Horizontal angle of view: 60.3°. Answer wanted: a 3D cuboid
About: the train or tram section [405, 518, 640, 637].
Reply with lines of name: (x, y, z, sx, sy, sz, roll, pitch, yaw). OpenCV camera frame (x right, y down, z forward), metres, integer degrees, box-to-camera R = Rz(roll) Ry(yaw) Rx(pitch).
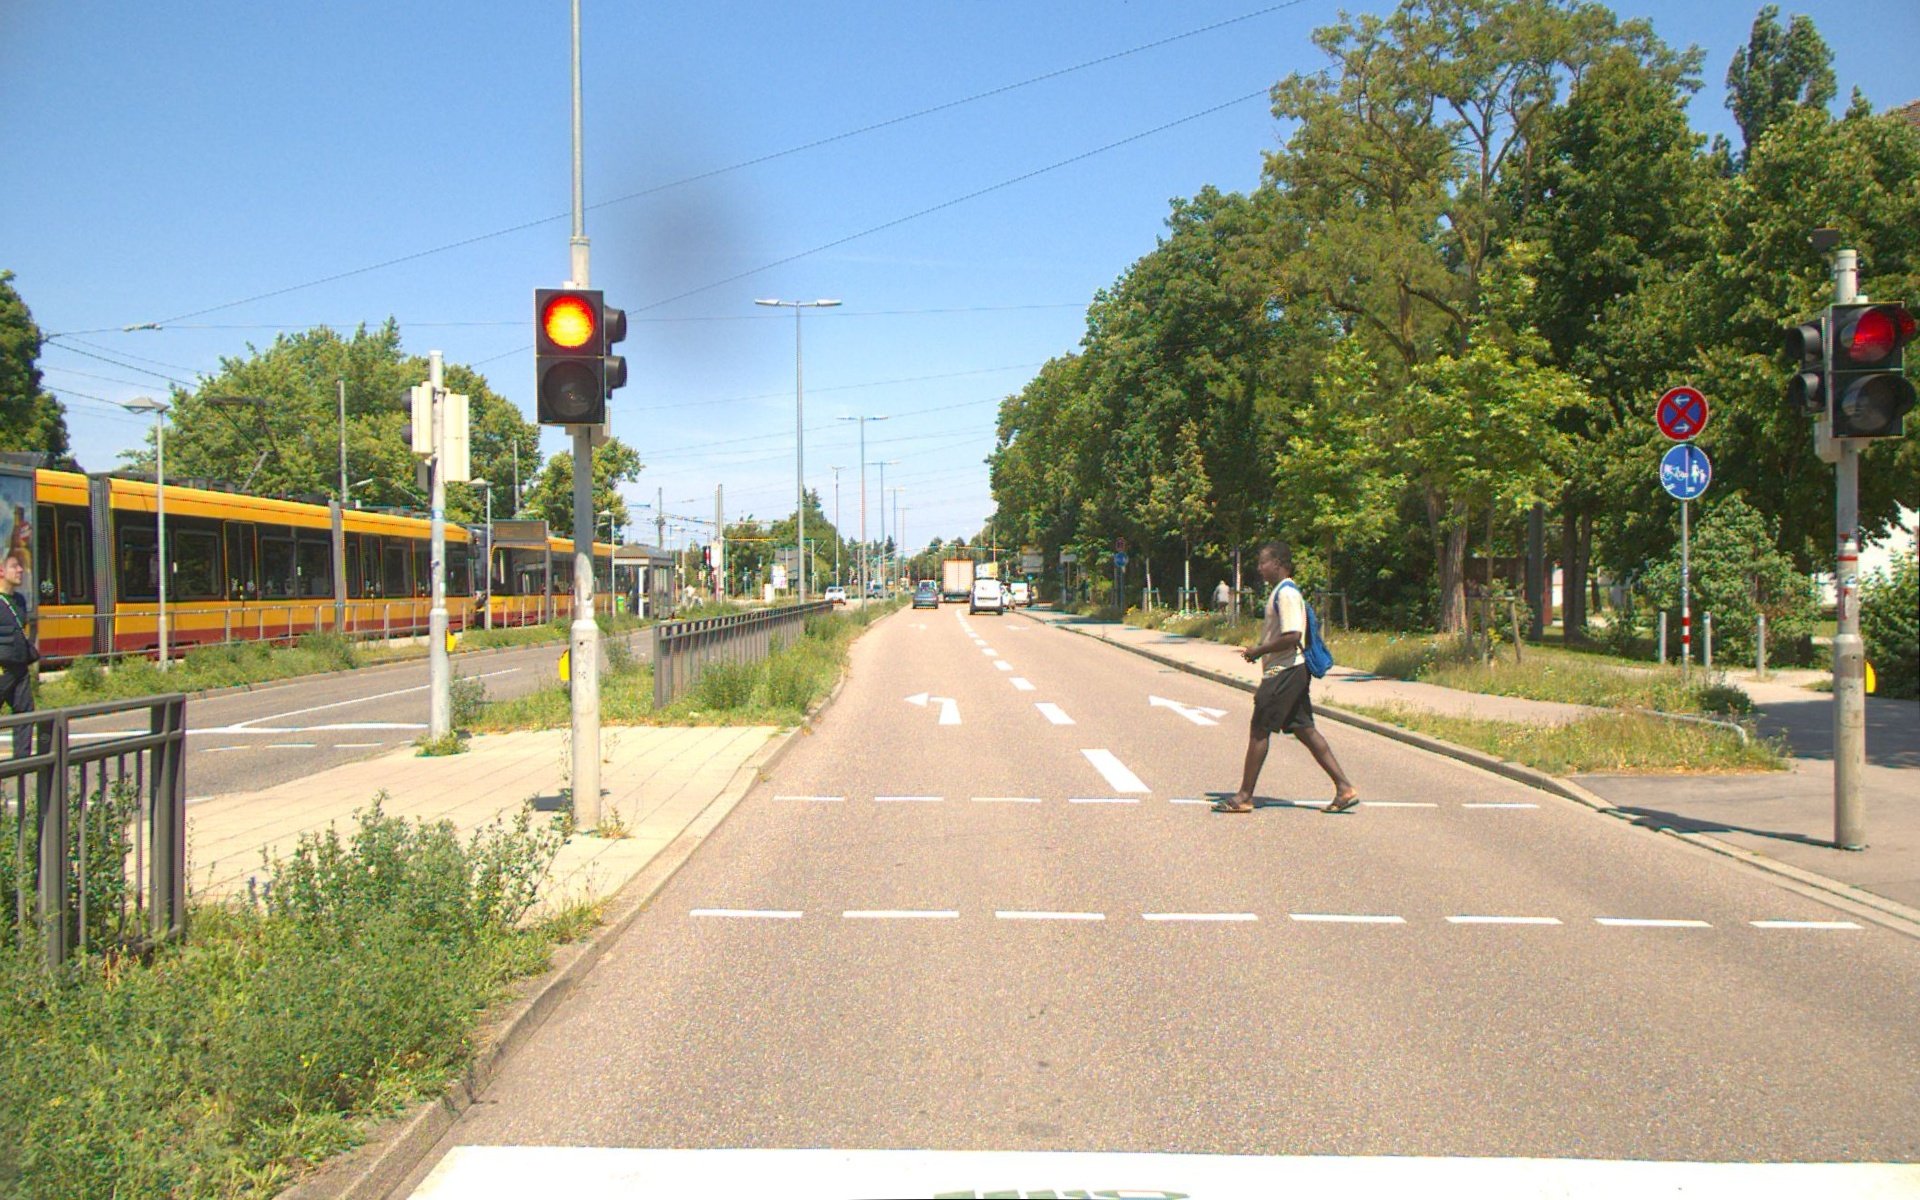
train or tram section: (-16.240, -0.791, 64.953, 2.731, 3.732, 25.994, 0, 0, -1)

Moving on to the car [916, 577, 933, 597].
car: (-3.580, -1.311, 165.485, 1.653, 1.930, 3.869, 0, 0, -1)

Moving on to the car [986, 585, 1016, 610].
car: (2.685, -0.209, 108.731, 1.767, 1.566, 3.999, -1, 1, -2)

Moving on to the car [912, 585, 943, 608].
car: (-2.098, -0.246, 107.861, 1.764, 1.512, 4.001, 0, 1, 2)

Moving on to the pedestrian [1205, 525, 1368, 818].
pedestrian: (2.198, 0.453, 11.088, 1.024, 1.882, 0.758, 0, 0, 14)

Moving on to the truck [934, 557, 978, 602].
truck: (-0.468, -1.842, 149.827, 3.820, 3.879, 10.790, 0, 1, -1)

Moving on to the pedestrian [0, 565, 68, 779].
pedestrian: (-8.498, 0.614, 14.602, 0.939, 1.828, 0.704, 0, 0, 28)

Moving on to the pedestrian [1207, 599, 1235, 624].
pedestrian: (9.173, 0.409, 58.117, 0.664, 0.862, 1.773, 0, 0, -1)

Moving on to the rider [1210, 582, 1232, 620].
rider: (9.162, 0.030, 58.117, 0.664, 1.304, 0.533, 0, 0, -1)

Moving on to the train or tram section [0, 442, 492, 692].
train or tram section: (-15.804, -0.553, 33.201, 2.731, 3.732, 37.511, 0, 0, -1)

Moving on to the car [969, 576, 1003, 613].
car: (1.350, -0.302, 87.139, 1.692, 1.845, 4.000, 1, 1, 1)

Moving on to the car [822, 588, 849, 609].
car: (-10.219, -0.123, 135.818, 1.953, 1.679, 3.999, 0, 1, -1)
